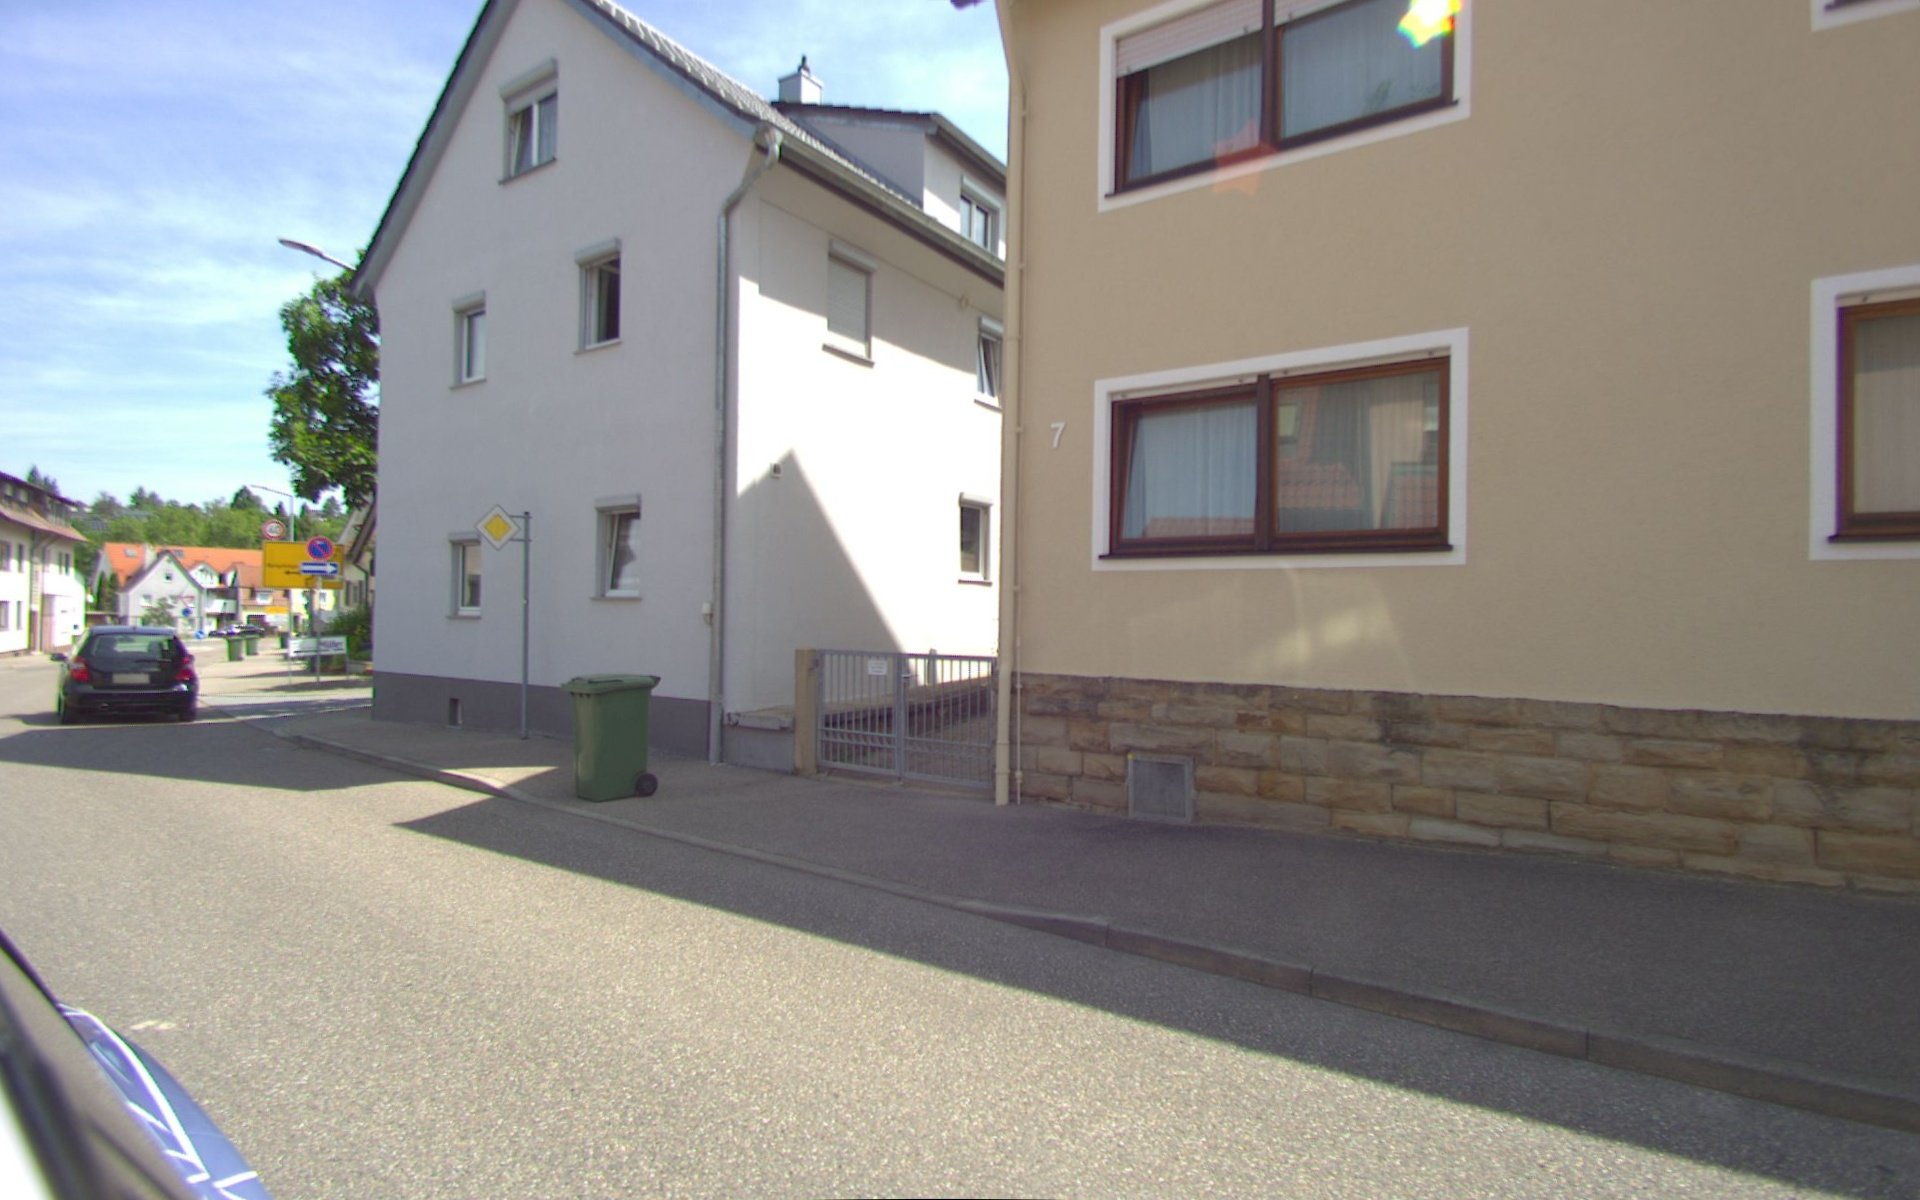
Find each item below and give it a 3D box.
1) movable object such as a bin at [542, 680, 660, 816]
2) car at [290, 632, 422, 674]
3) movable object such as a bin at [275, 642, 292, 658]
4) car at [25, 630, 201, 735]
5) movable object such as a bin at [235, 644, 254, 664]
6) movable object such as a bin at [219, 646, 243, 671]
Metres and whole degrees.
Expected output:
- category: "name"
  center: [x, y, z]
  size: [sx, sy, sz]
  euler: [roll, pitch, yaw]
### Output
- category: "movable object such as a bin"
  center: [-3.120, 1.253, 8.811]
  size: [0.679, 1.068, 0.745]
  euler: [-2, -3, 43]
- category: "car"
  center: [-25.144, 2.157, 42.252]
  size: [2.000, 1.635, 4.353]
  euler: [-1, -2, 43]
- category: "movable object such as a bin"
  center: [-45.947, 3.393, 68.746]
  size: [0.797, 1.053, 0.829]
  euler: [0, -2, -24]
- category: "car"
  center: [-14.508, 1.335, 17.264]
  size: [4.070, 1.567, 1.780]
  euler: [-2, -4, 43]
- category: "movable object such as a bin"
  center: [-38.088, 2.886, 53.866]
  size: [0.781, 1.065, 0.652]
  euler: [2, -3, -38]
- category: "movable object such as a bin"
  center: [-32.174, 2.564, 44.651]
  size: [0.814, 1.085, 0.820]
  euler: [0, -2, -34]
